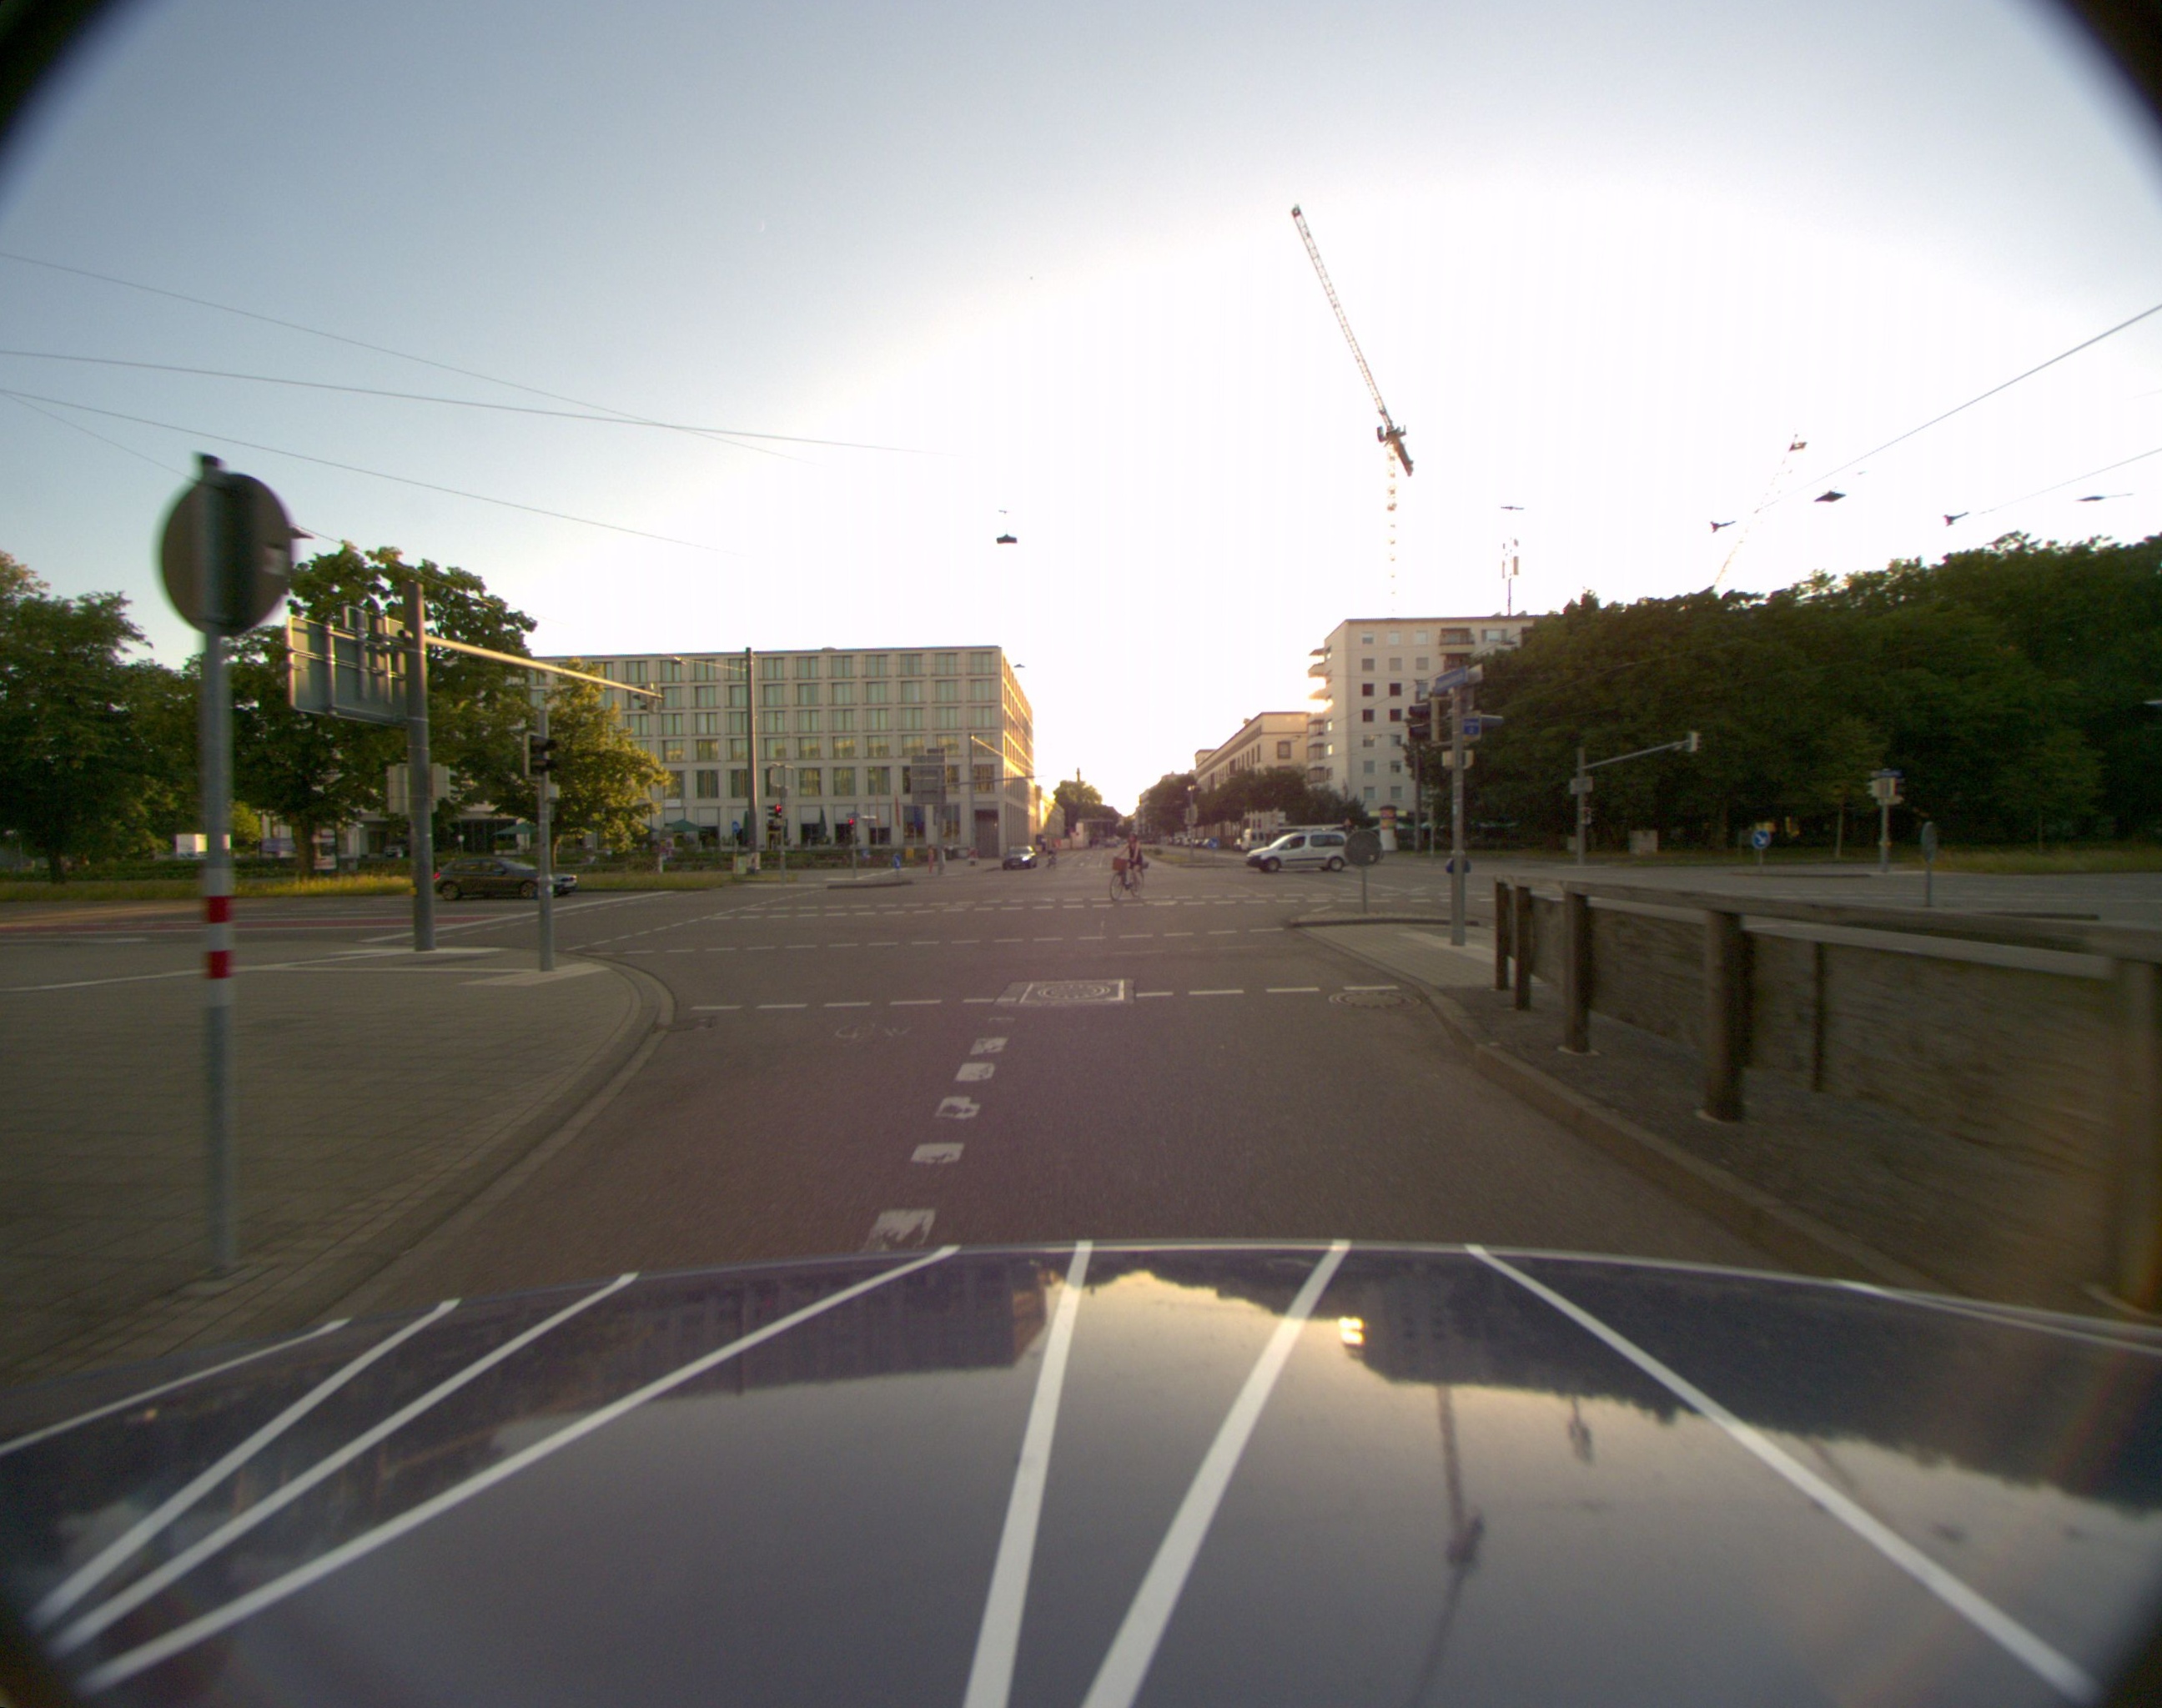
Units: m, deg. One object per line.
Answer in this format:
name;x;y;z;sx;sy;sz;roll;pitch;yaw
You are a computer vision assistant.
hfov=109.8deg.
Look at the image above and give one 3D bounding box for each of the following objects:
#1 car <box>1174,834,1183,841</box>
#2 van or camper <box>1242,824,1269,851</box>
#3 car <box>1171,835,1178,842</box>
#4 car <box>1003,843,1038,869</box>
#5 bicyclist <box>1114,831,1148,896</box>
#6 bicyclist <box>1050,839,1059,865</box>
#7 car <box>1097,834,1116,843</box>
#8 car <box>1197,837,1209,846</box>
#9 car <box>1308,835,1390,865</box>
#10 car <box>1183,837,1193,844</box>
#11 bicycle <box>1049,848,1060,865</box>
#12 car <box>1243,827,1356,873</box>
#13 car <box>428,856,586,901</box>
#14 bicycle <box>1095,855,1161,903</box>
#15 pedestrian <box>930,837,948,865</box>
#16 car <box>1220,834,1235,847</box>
car;21.737;-3.618;169.089;1.721;1.422;3.810;-1;1;5
van or camper;19.017;-1.783;83.121;2.110;2.665;4.712;-1;-1;4
car;22.577;-3.736;183.315;1.721;1.422;3.810;-1;1;5
car;-4.041;0.101;51.387;1.815;1.514;4.810;-3;1;2
bicyclist;1.285;0.235;19.591;0.608;1.626;0.598;0;2;38
bicyclist;-1.688;-0.115;48.680;0.541;1.626;0.597;-1;2;2
car;5.185;-3.192;154.709;3.806;1.639;1.863;-1;1;2
car;20.665;-2.111;129.059;1.721;1.422;3.810;-1;1;5
car;16.155;-0.265;45.943;1.890;1.654;4.333;-2;2;-38
car;20.936;-2.602;148.400;1.721;1.422;3.810;-1;1;5
bicycle;-1.675;0.134;48.558;0.540;1.046;1.761;-1;1;3
car;9.563;-0.206;33.492;4.462;1.900;1.805;-1;1;0
car;-19.668;0.814;26.138;4.169;1.413;1.698;-1;2;3
bicycle;1.228;0.607;19.531;0.608;1.108;2.090;0;2;38
pedestrian;-8.618;-0.184;46.038;0.736;1.617;0.727;0;2;34
car;20.770;-1.916;108.007;1.721;1.695;3.810;-1;1;5
